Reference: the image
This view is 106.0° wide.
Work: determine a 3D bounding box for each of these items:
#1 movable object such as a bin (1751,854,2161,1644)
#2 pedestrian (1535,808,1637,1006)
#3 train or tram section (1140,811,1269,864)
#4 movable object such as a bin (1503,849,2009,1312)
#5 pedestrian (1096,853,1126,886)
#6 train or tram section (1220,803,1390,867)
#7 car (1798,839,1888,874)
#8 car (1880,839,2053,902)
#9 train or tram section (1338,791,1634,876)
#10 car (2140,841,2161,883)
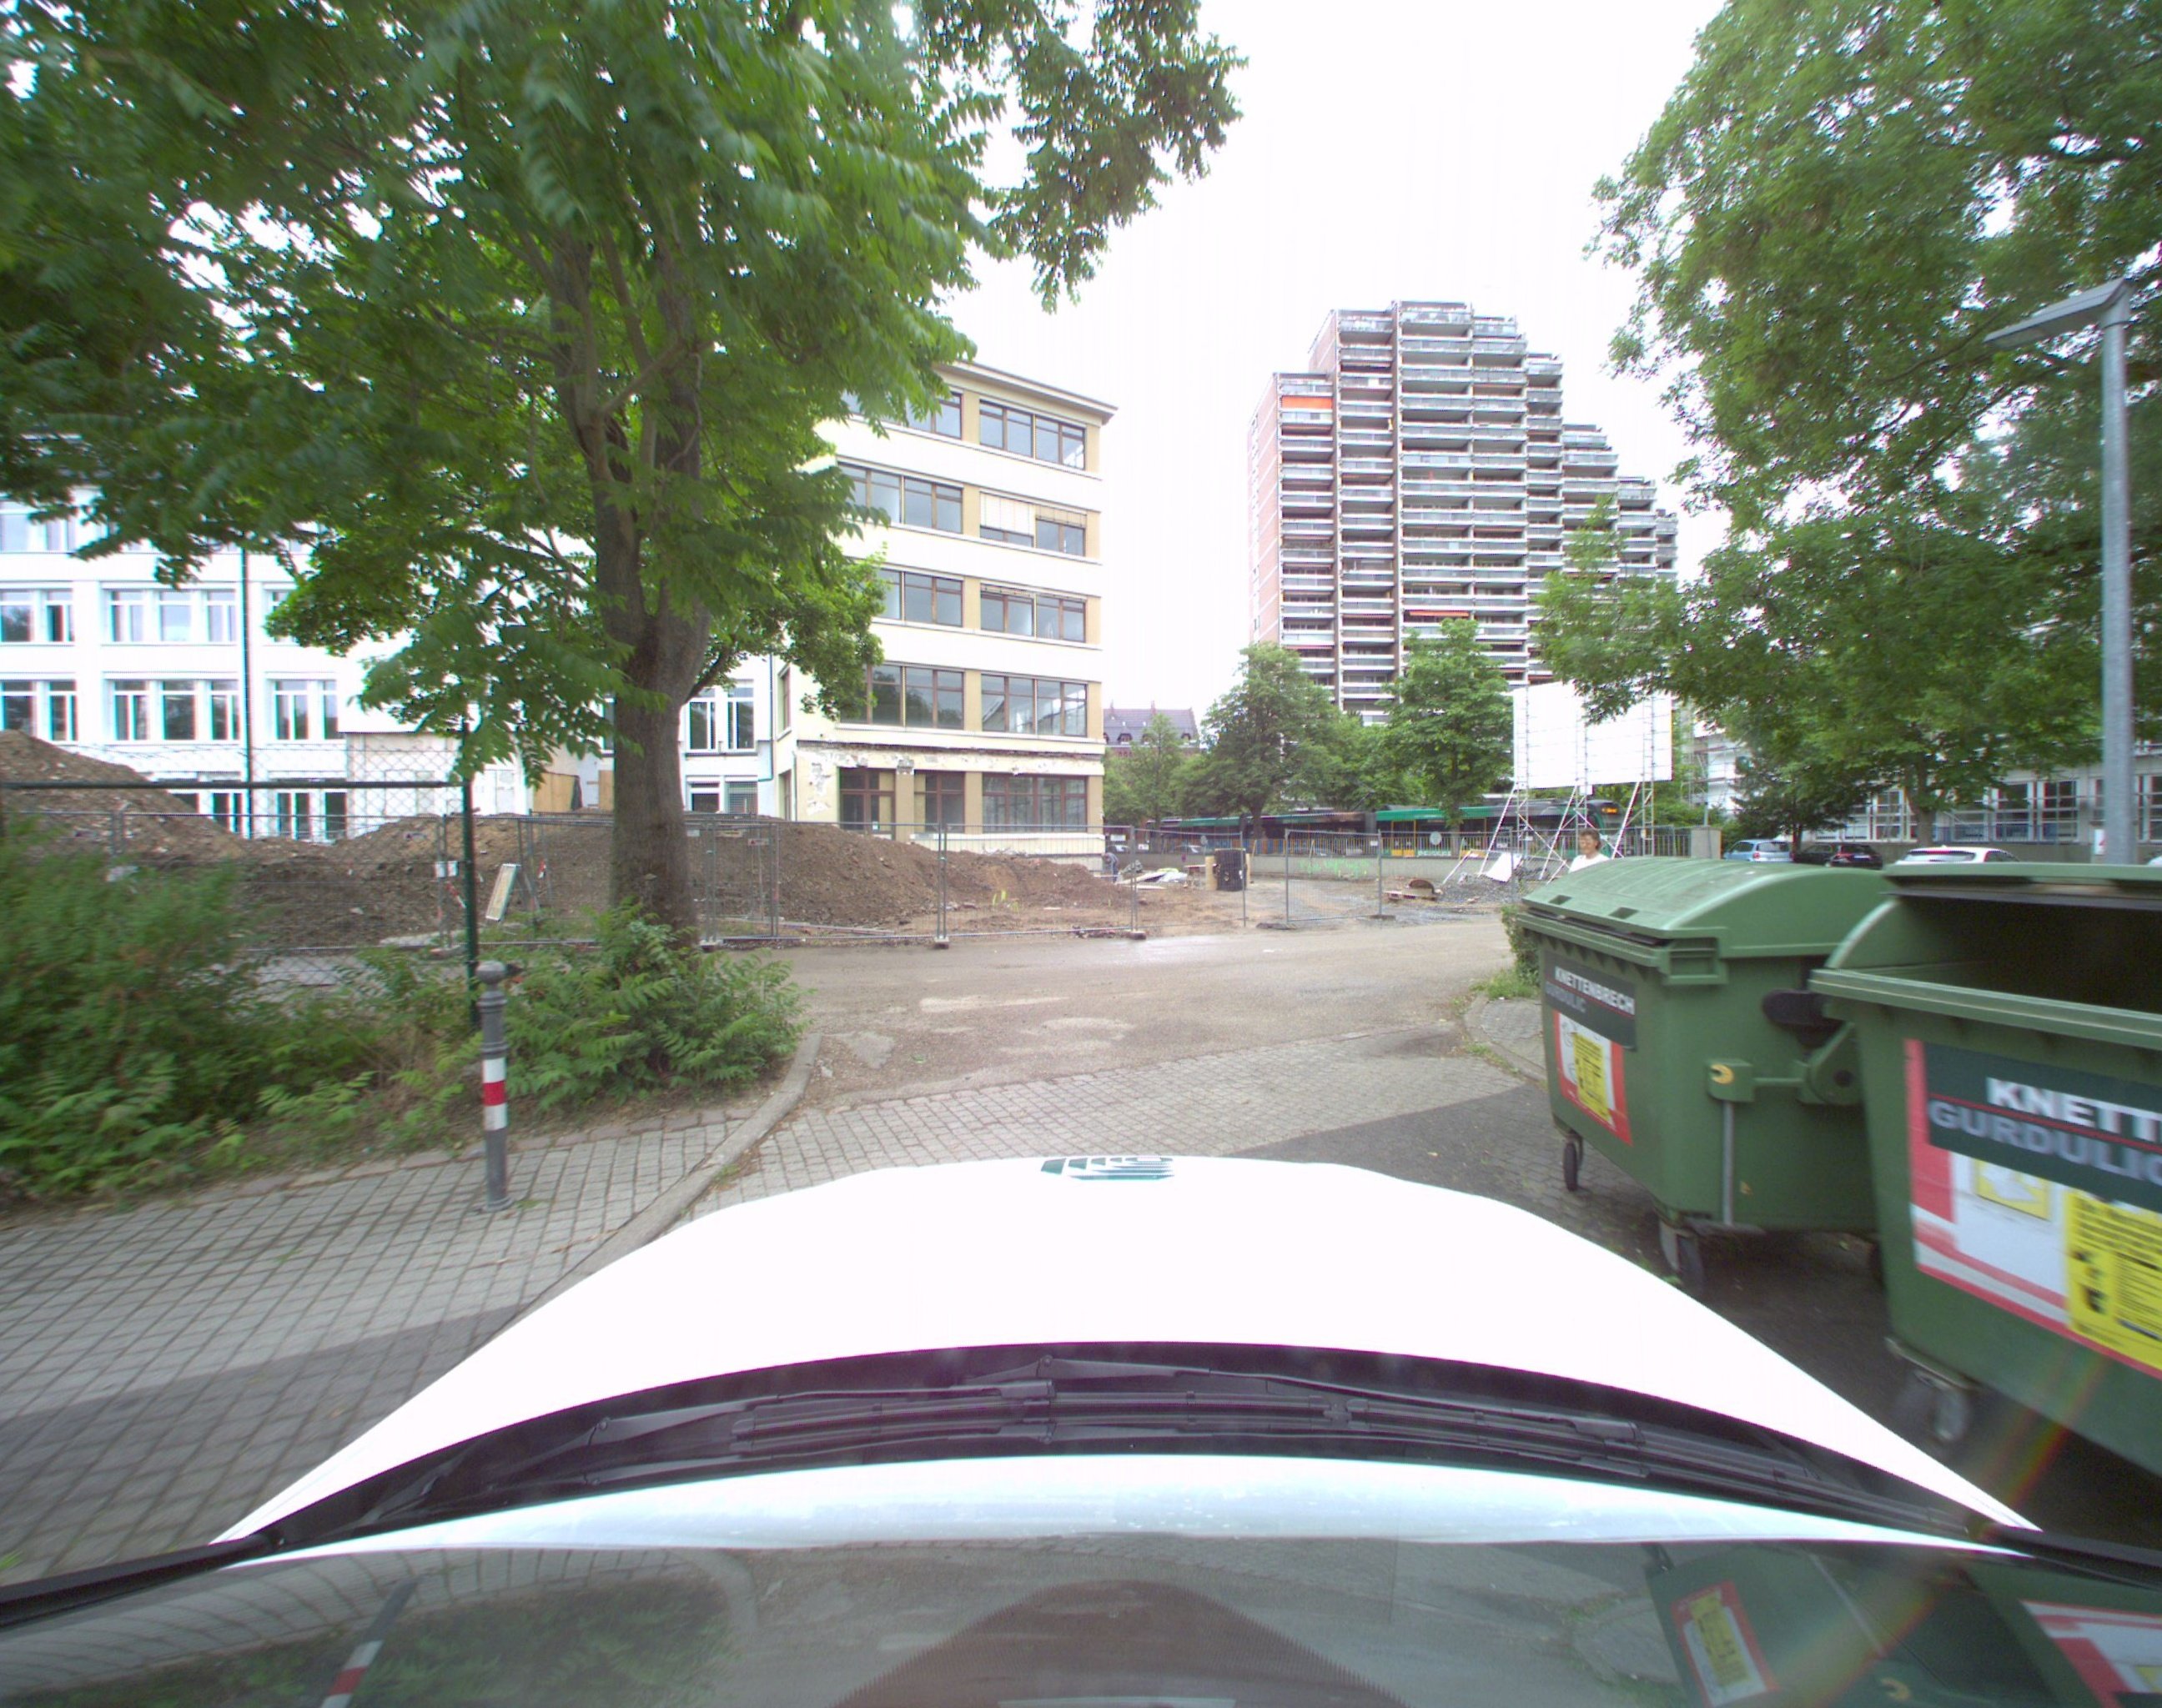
[{"bbox_3d":[2.533,0.738,1.761,1.104,1.450,1.283,0,1,-7],"label":"movable object such as a bin"},{"bbox_3d":[4.839,0.473,7.801,0.742,1.781,0.667,-1,0,38],"label":"pedestrian"},{"bbox_3d":[8.892,-1.150,61.176,2.675,3.614,12.342,-1,0,-29],"label":"train or tram section"},{"bbox_3d":[2.467,0.704,3.245,1.061,1.434,1.279,-1,0,10],"label":"movable object such as a bin"},{"bbox_3d":[1.316,0.669,36.217,0.986,1.437,0.921,0,0,-33],"label":"pedestrian"},{"bbox_3d":[13.831,-1.103,52.051,2.675,3.614,12.342,-1,0,-29],"label":"train or tram section"},{"bbox_3d":[33.818,0.100,36.255,1.601,1.511,3.352,0,0,17],"label":"car"},{"bbox_3d":[22.150,0.435,20.372,3.983,1.433,1.767,2,-1,-24],"label":"car"},{"bbox_3d":[19.585,-0.893,41.498,2.675,3.614,14.634,-1,0,-29],"label":"train or tram section"},{"bbox_3d":[38.735,0.287,27.804,1.539,1.473,3.425,0,0,20],"label":"car"}]
